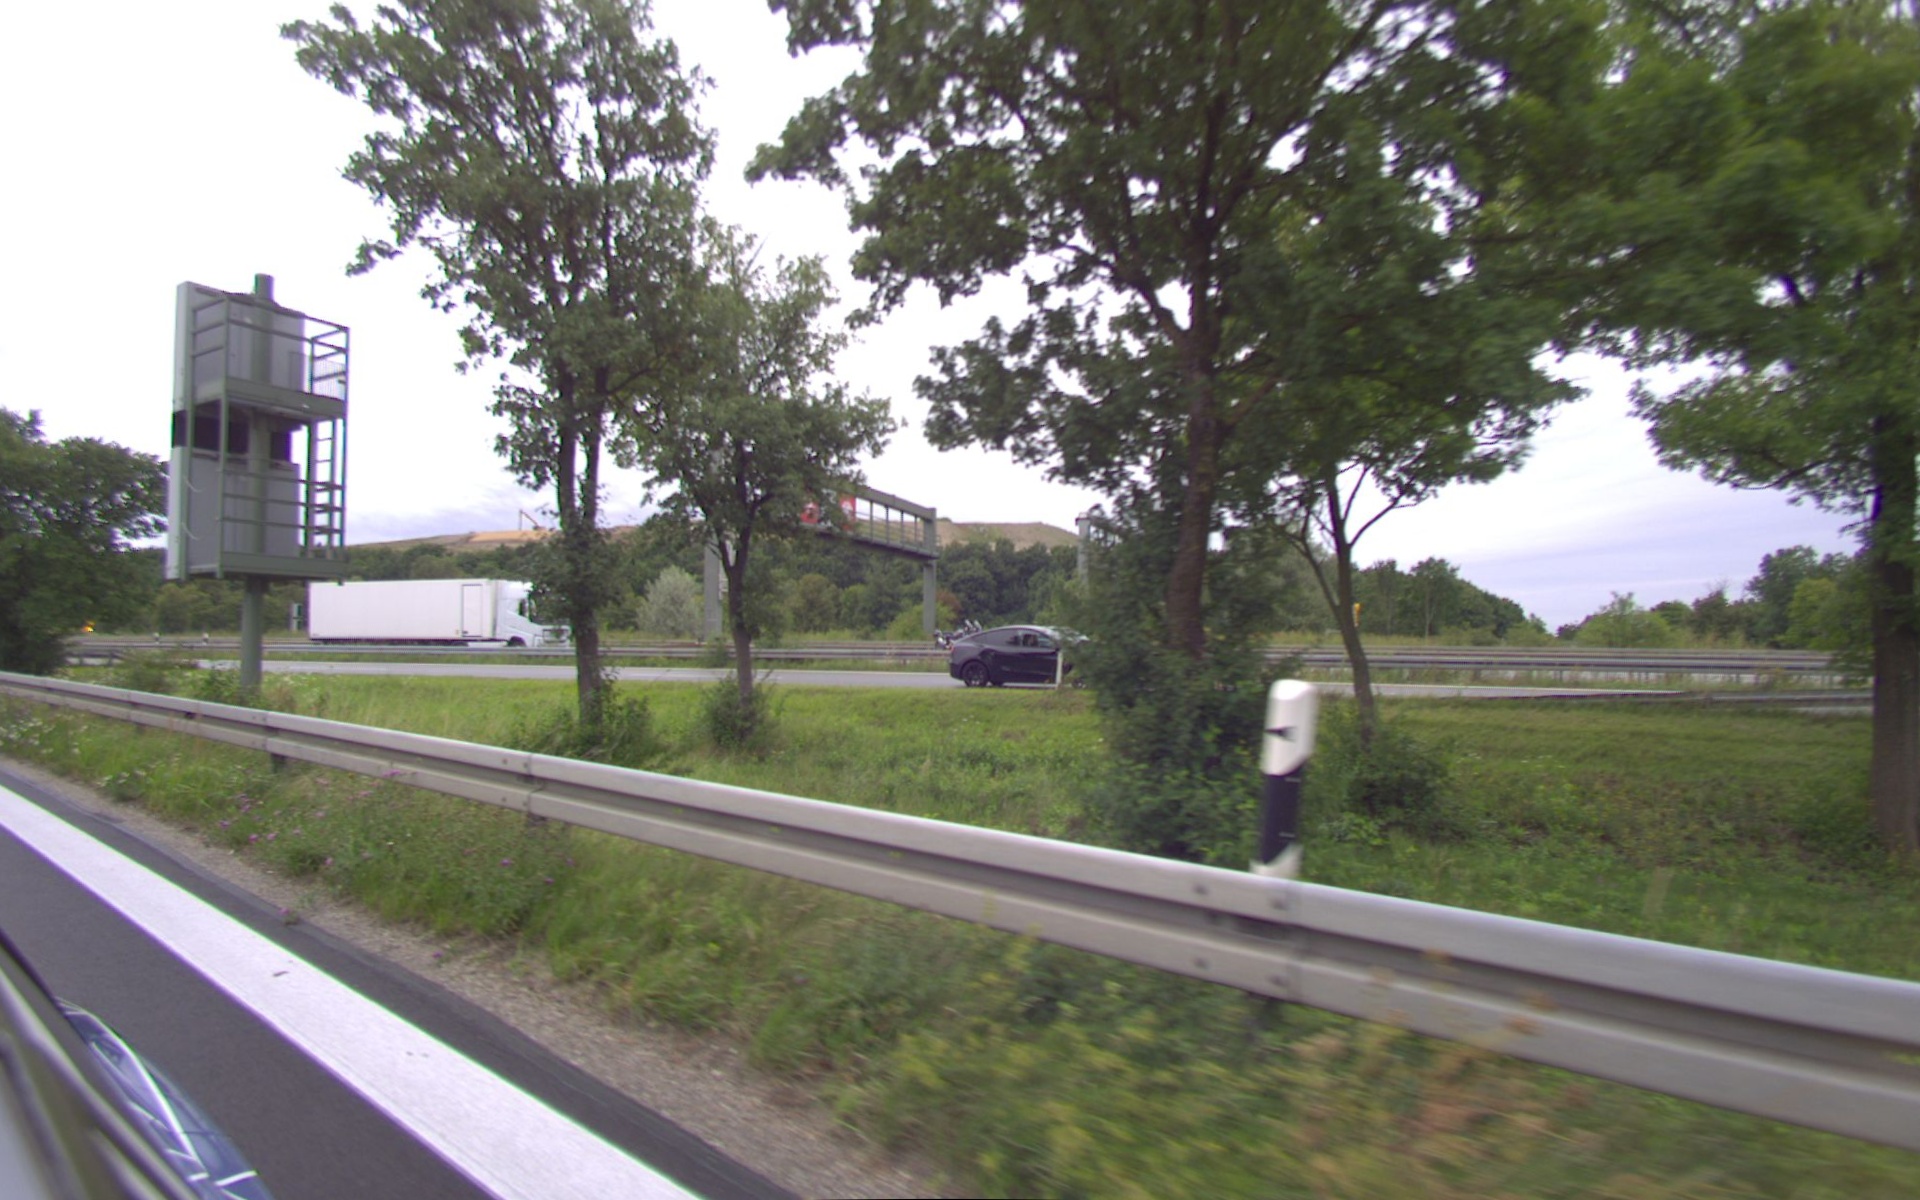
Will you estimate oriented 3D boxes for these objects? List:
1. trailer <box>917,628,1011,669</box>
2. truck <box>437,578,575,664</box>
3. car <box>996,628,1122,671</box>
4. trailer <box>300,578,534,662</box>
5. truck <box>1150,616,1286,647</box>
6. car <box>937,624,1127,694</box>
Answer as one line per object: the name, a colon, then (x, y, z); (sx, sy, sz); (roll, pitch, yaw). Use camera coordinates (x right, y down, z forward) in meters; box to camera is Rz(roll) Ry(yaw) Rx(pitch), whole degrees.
trailer: (0.180, 1.999, 42.601); (3.586, 1.638, 1.874); (0, -1, 22)
truck: (-23.072, 1.086, 51.448); (6.401, 4.167, 2.755); (-1, -2, 22)
car: (4.007, 1.978, 41.027); (4.774, 1.638, 1.874); (0, -1, 22)
trailer: (-29.065, 1.119, 53.906); (13.856, 4.167, 2.755); (-1, -2, 22)
truck: (17.377, 2.071, 68.475); (8.762, 2.029, 1.983); (0, -1, 25)
car: (1.851, 1.454, 26.050); (4.524, 1.650, 1.953); (0, -1, 23)
